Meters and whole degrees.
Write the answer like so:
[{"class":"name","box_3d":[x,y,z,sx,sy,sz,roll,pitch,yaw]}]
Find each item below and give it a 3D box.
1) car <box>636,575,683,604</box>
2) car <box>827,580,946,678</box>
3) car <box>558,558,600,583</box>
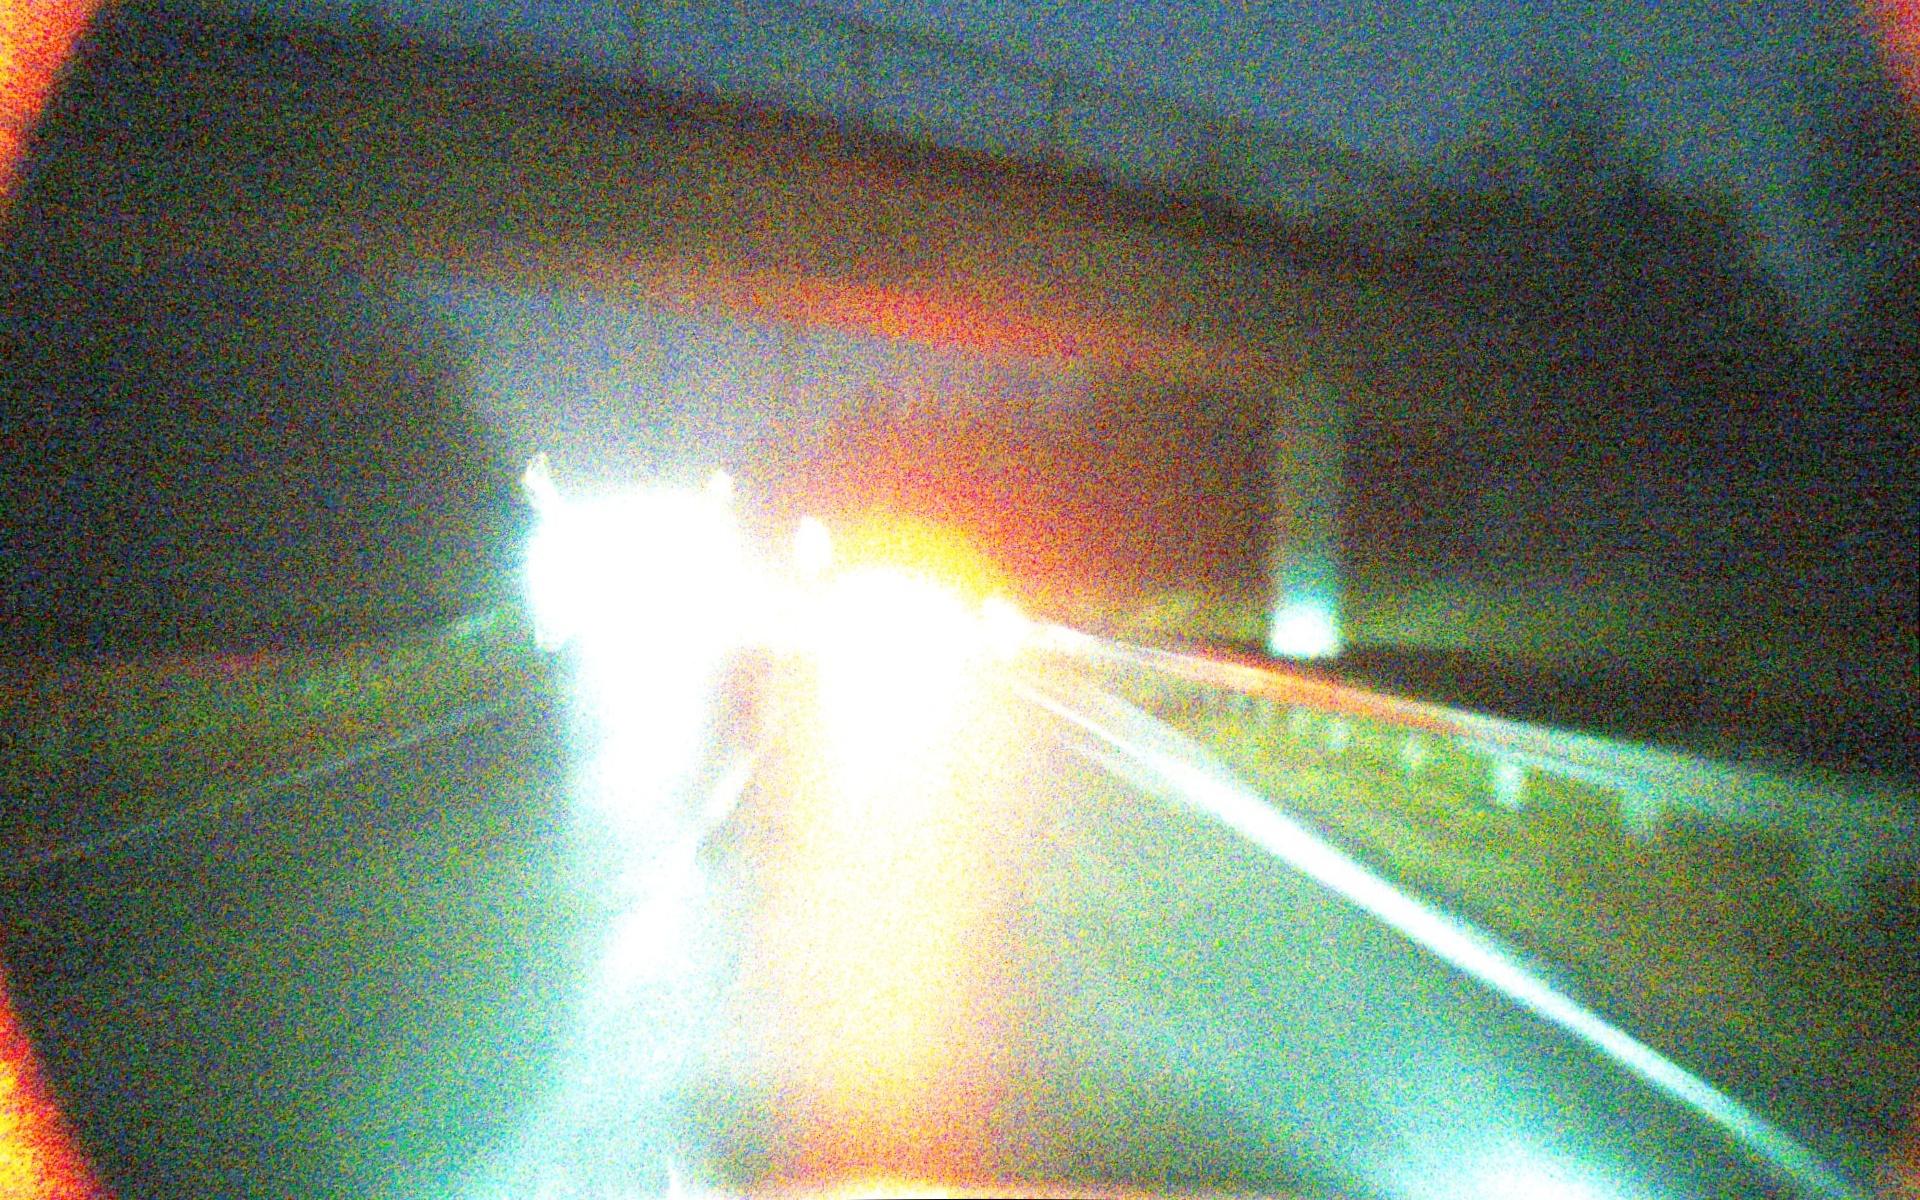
[{"class":"car","box_3d":[-17.224,-0.619,94.647,1.901,1.612,4.958,-2,1,-19]},{"class":"car","box_3d":[-1.500,0.494,31.800,1.955,1.656,4.978,1,1,-6]},{"class":"car","box_3d":[-28.544,-2.190,123.844,1.970,1.738,4.941,-2,1,-27]}]
